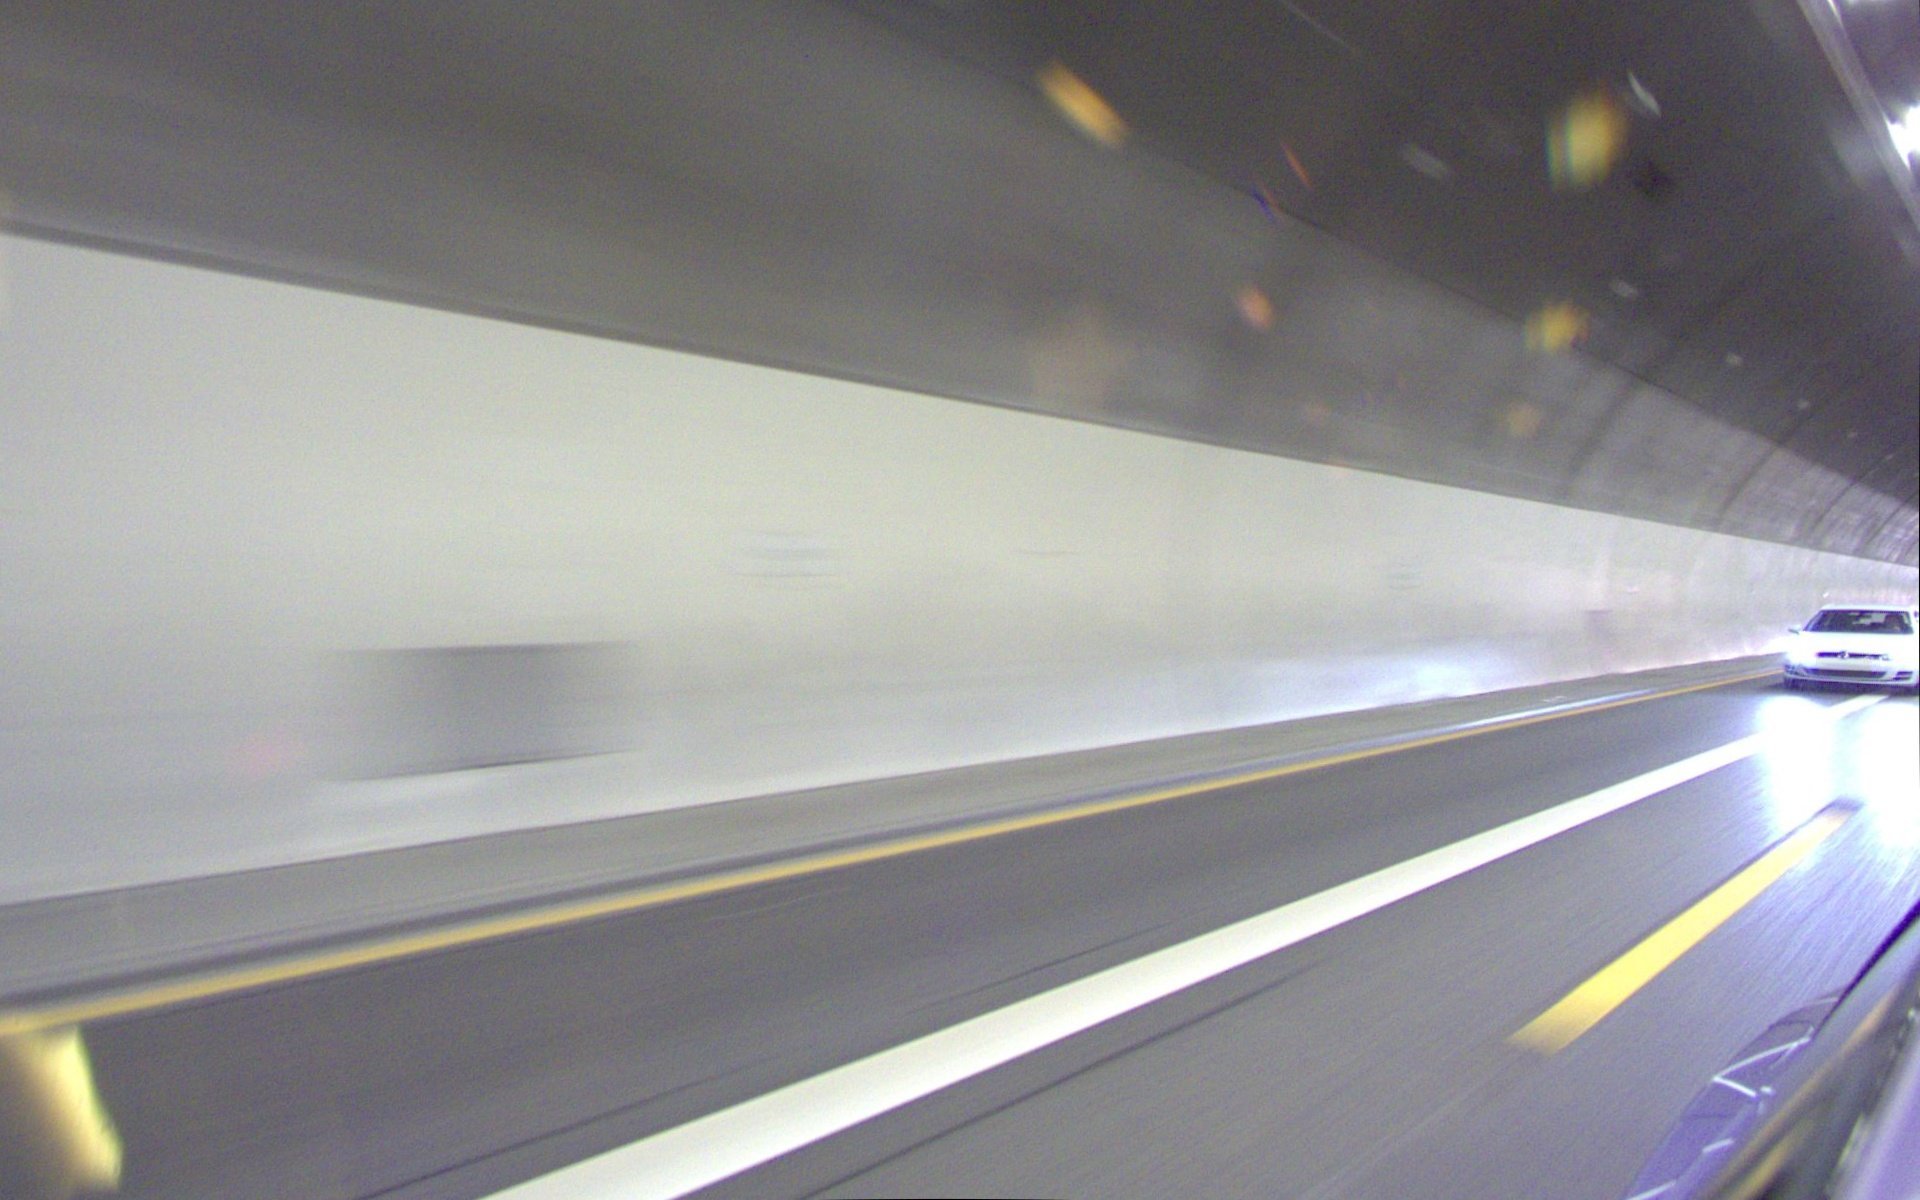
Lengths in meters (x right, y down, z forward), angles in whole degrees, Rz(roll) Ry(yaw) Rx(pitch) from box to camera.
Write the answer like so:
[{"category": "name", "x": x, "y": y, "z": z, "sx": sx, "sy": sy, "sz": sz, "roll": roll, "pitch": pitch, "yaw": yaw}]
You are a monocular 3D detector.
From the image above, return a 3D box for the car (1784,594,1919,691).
[{"category": "car", "x": 15.781, "y": 0.643, "z": 17.364, "sx": 3.962, "sy": 1.479, "sz": 1.801, "roll": 0, "pitch": 0, "yaw": -39}]
